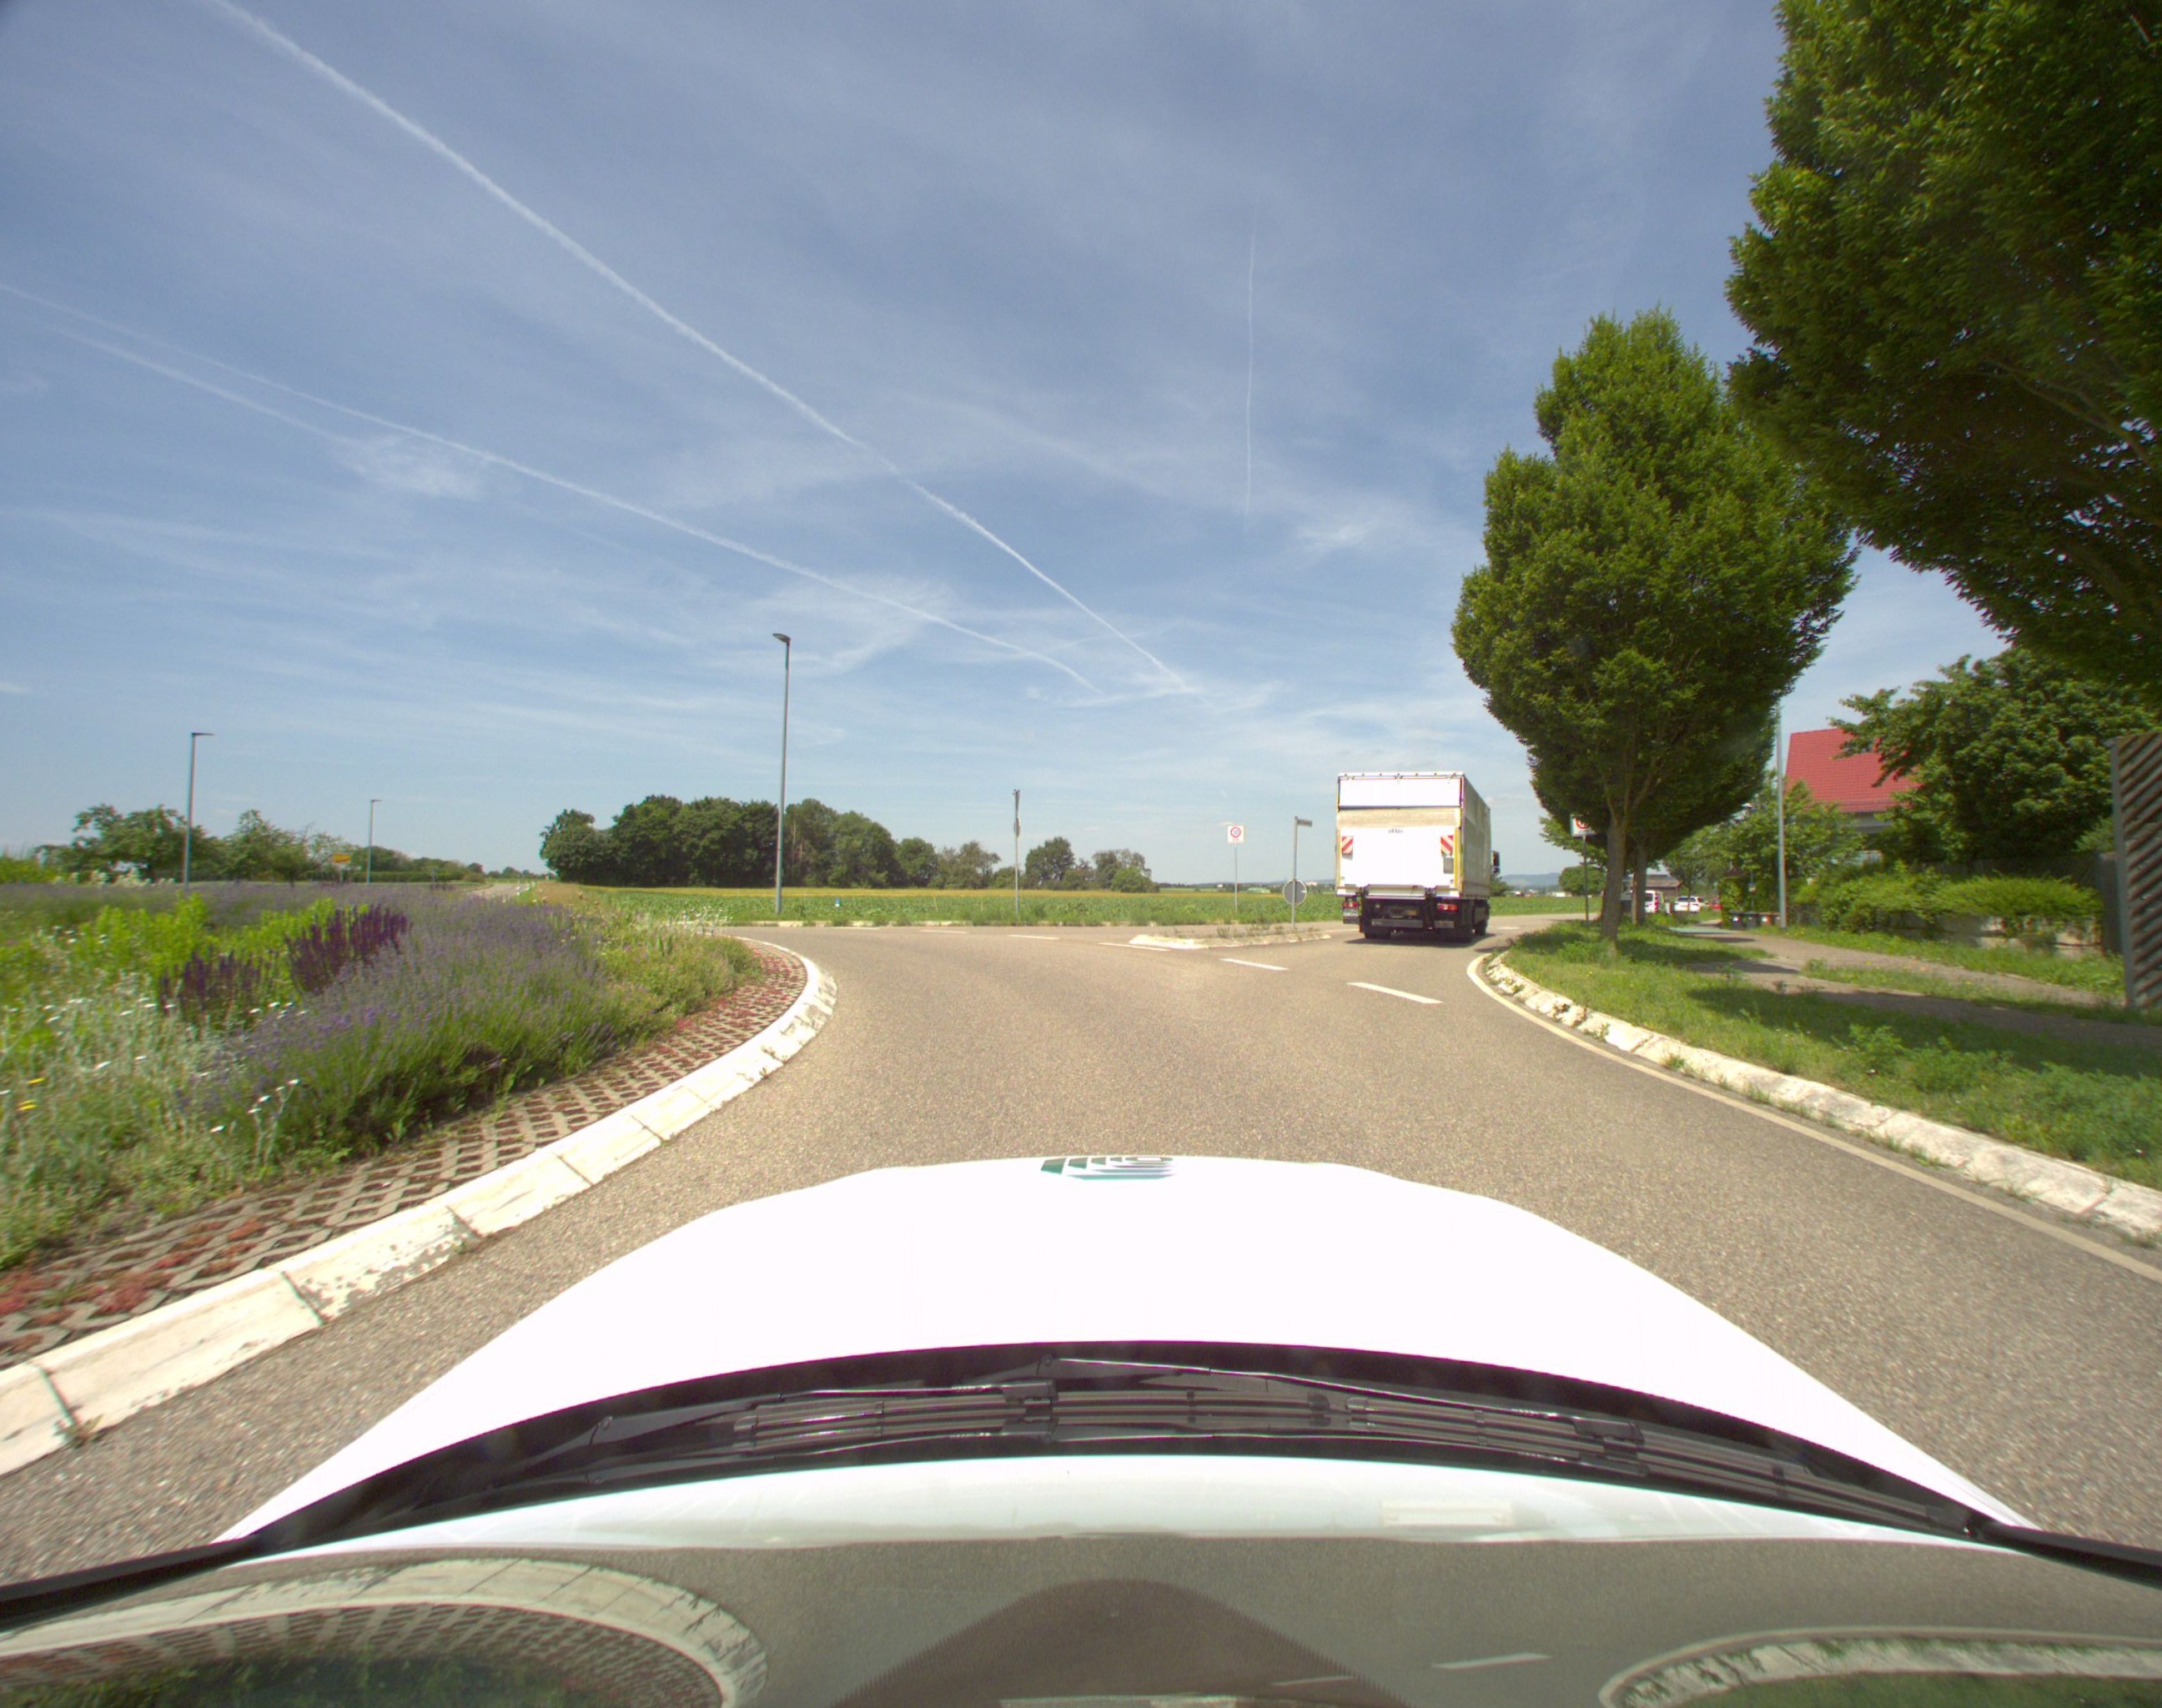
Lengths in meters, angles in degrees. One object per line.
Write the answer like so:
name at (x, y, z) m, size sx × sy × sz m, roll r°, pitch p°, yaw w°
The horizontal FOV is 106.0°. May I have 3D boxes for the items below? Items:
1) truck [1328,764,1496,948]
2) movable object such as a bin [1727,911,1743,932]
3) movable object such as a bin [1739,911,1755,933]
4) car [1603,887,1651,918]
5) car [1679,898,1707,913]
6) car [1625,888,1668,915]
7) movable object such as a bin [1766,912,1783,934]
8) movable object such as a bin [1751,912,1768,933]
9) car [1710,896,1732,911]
truck at (8.886, 0.200, 20.999) m, size 2.740 × 3.671 × 9.438 m, roll 0°, pitch -2°, yaw 30°
movable object such as a bin at (30.636, 3.164, 38.157) m, size 0.500 × 0.966 × 0.437 m, roll 2°, pitch -2°, yaw -29°
movable object such as a bin at (30.875, 3.152, 37.748) m, size 0.500 × 0.966 × 0.437 m, roll 2°, pitch -2°, yaw -29°
car at (32.894, 2.897, 49.031) m, size 1.974 × 1.794 × 4.024 m, roll -1°, pitch -3°, yaw 39°
car at (50.112, 4.179, 66.649) m, size 3.225 × 1.137 × 1.349 m, roll 3°, pitch -3°, yaw -45°
car at (37.633, 3.123, 54.157) m, size 1.974 × 1.717 × 4.024 m, roll -2°, pitch -3°, yaw 39°
movable object such as a bin at (31.397, 3.124, 36.856) m, size 0.500 × 0.966 × 0.437 m, roll 2°, pitch -2°, yaw -29°
movable object such as a bin at (31.114, 3.138, 37.326) m, size 0.500 × 0.966 × 0.437 m, roll 2°, pitch -2°, yaw -29°
car at (59.233, 4.585, 75.338) m, size 1.270 × 1.362 × 3.308 m, roll -2°, pitch -5°, yaw 43°
